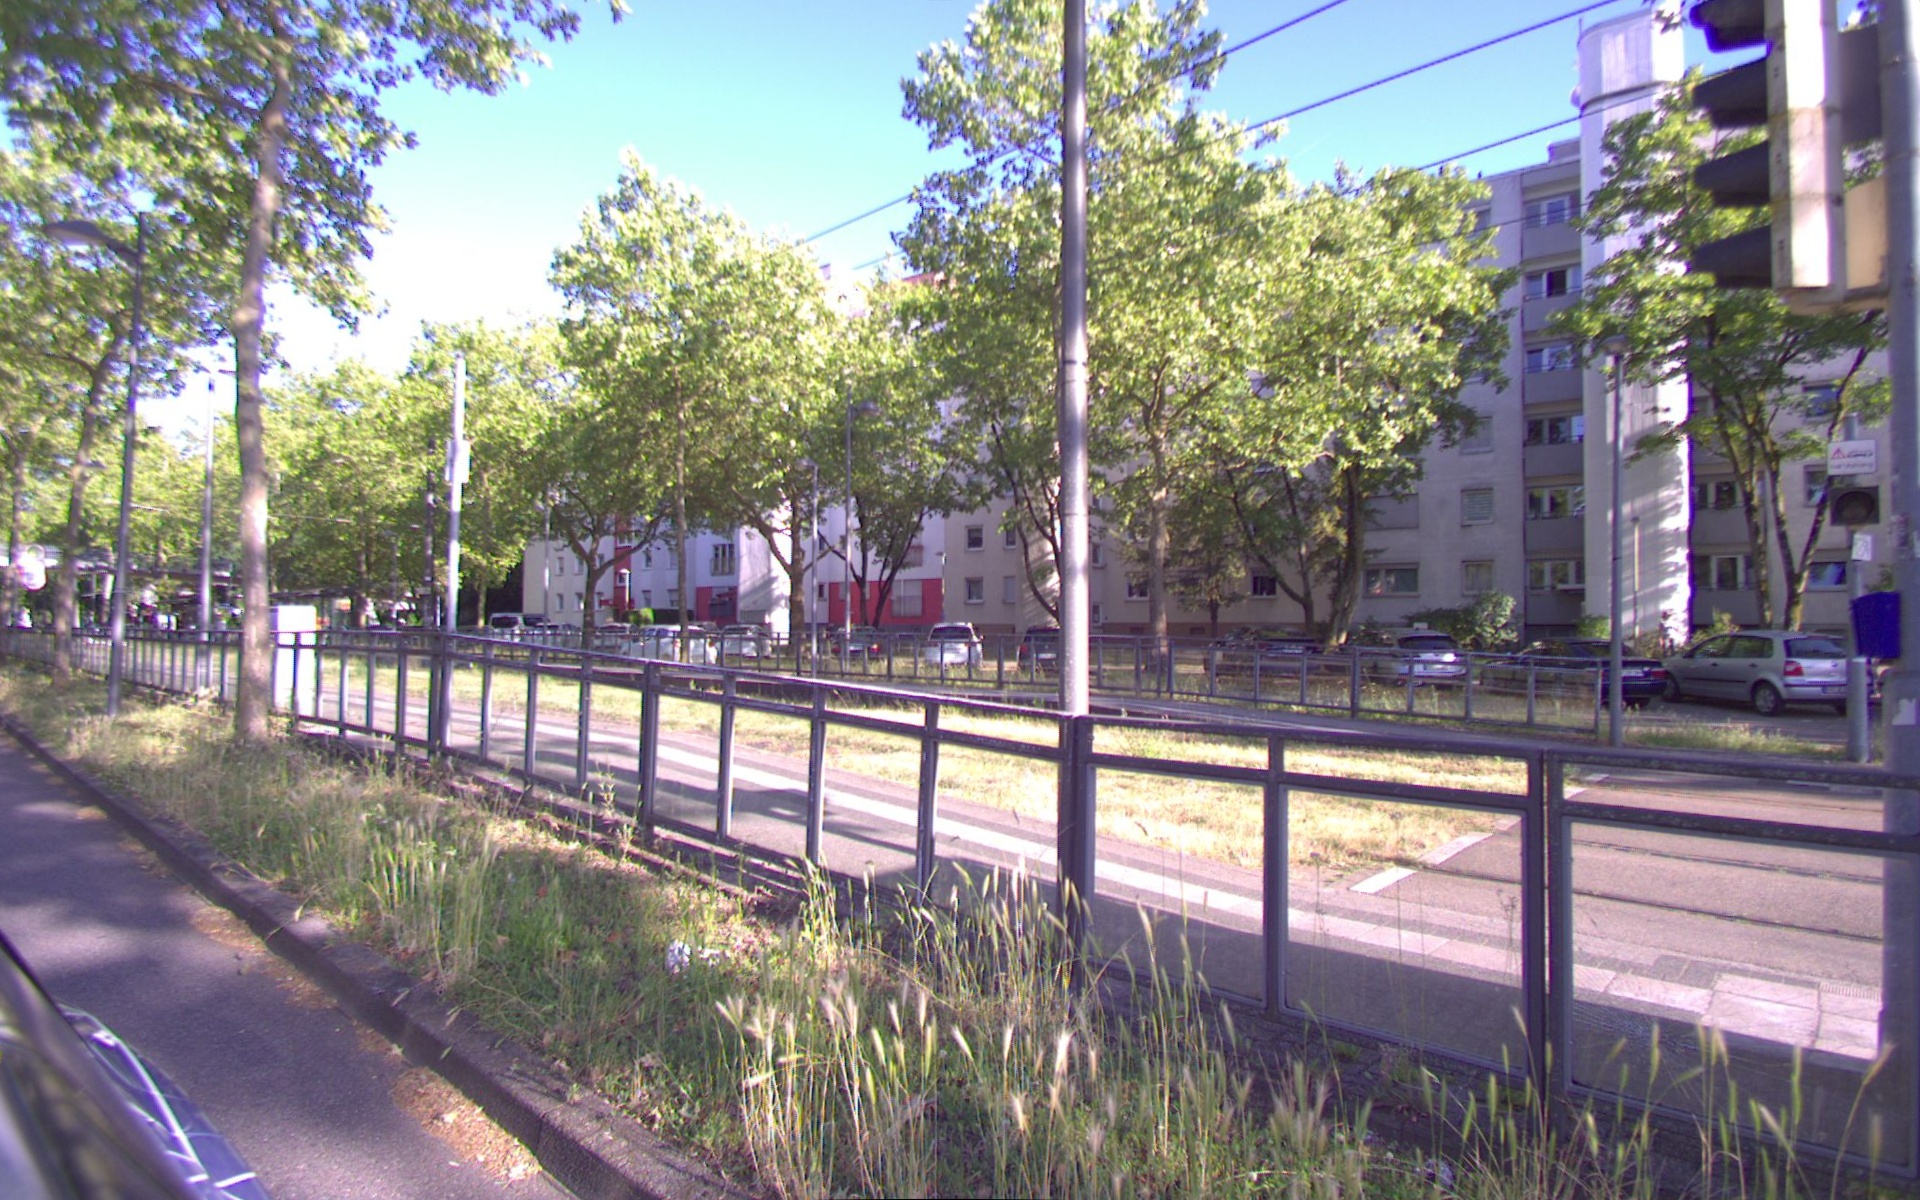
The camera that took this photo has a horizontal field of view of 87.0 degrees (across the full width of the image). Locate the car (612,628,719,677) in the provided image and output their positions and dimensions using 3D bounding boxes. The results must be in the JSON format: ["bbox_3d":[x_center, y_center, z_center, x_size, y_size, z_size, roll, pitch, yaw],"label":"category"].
[{"bbox_3d":[-9.601,1.670,32.877,3.717,1.460,1.614,-1,-1,42],"label":"car"}]

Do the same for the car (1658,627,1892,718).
[{"bbox_3d":[14.717,1.248,18.512,1.549,1.442,3.287,-1,-1,-1],"label":"car"}]

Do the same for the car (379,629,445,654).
[{"bbox_3d":[-34.251,2.585,63.389,1.678,1.439,4.196,-2,-1,3],"label":"car"}]

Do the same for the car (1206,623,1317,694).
[{"bbox_3d":[7.221,1.368,24.505,1.442,1.559,3.142,-1,-1,-5],"label":"car"}]

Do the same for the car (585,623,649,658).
[{"bbox_3d":[-15.776,1.832,46.762,1.870,1.515,4.506,-1,-2,-7],"label":"car"}]

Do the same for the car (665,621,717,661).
[{"bbox_3d":[-11.375,1.706,43.007,1.551,1.580,4.066,-1,-2,-7],"label":"car"}]

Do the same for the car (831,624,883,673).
[{"bbox_3d":[-3.561,1.620,34.620,1.621,1.556,4.181,-1,-2,-7],"label":"car"}]

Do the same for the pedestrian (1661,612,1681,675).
[{"bbox_3d":[20.467,1.256,29.129,0.449,1.805,0.315,-1,-2,36],"label":"pedestrian"}]

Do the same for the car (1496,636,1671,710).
[{"bbox_3d":[12.297,1.398,20.187,1.445,1.263,3.382,0,-1,2],"label":"car"}]

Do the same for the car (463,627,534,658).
[{"bbox_3d":[-25.050,2.274,55.110,1.873,1.509,4.500,-2,-1,0],"label":"car"}]

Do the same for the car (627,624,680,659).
[{"bbox_3d":[-13.524,1.799,44.874,1.551,1.443,4.066,-1,-2,-7],"label":"car"}]

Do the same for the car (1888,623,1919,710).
[{"bbox_3d":[17.143,1.116,15.813,1.609,1.487,3.921,0,-1,0],"label":"car"}]

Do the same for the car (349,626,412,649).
[{"bbox_3d":[-38.939,2.491,68.091,1.678,1.439,4.196,-2,-1,3],"label":"car"}]

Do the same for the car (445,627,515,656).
[{"bbox_3d":[-27.344,2.317,57.789,1.873,1.509,4.500,-2,-1,0],"label":"car"}]

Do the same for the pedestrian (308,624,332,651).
[{"bbox_3d":[-28.419,1.656,44.964,0.662,1.136,0.687,-1,-5,43],"label":"pedestrian"}]

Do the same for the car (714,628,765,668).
[{"bbox_3d":[-8.628,1.843,39.788,1.551,1.485,4.066,-1,-2,-7],"label":"car"}]

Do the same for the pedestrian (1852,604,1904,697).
[{"bbox_3d":[18.200,0.980,20.080,0.717,1.805,0.470,-1,-1,41],"label":"pedestrian"}]

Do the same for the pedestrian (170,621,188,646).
[{"bbox_3d":[-48.520,2.092,62.883,0.681,1.525,0.638,0,-3,29],"label":"pedestrian"}]

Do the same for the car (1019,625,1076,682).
[{"bbox_3d":[2.592,1.508,29.470,1.448,1.520,3.375,-1,-2,8],"label":"car"}]

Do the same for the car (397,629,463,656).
[{"bbox_3d":[-32.158,2.552,61.545,1.678,1.439,4.196,-2,-1,3],"label":"car"}]

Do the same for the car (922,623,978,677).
[{"bbox_3d":[-0.301,1.538,32.165,1.623,1.556,3.992,-1,-1,0],"label":"car"}]

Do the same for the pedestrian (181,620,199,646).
[{"bbox_3d":[-47.863,2.057,62.919,0.715,1.647,0.722,-1,-3,39],"label":"pedestrian"}]

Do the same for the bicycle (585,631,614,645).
[{"bbox_3d":[-25.715,2.688,72.129,2.592,0.935,0.688,-3,-2,39],"label":"bicycle"}]

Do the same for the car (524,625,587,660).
[{"bbox_3d":[-20.294,2.101,50.934,1.665,1.623,4.061,-1,-2,-2],"label":"car"}]

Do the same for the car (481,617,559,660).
[{"bbox_3d":[-22.760,1.930,52.550,1.875,2.079,4.496,-2,-1,3],"label":"car"}]

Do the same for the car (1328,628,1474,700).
[{"bbox_3d":[9.707,1.369,22.535,1.516,1.437,3.388,0,-1,-5],"label":"car"}]
